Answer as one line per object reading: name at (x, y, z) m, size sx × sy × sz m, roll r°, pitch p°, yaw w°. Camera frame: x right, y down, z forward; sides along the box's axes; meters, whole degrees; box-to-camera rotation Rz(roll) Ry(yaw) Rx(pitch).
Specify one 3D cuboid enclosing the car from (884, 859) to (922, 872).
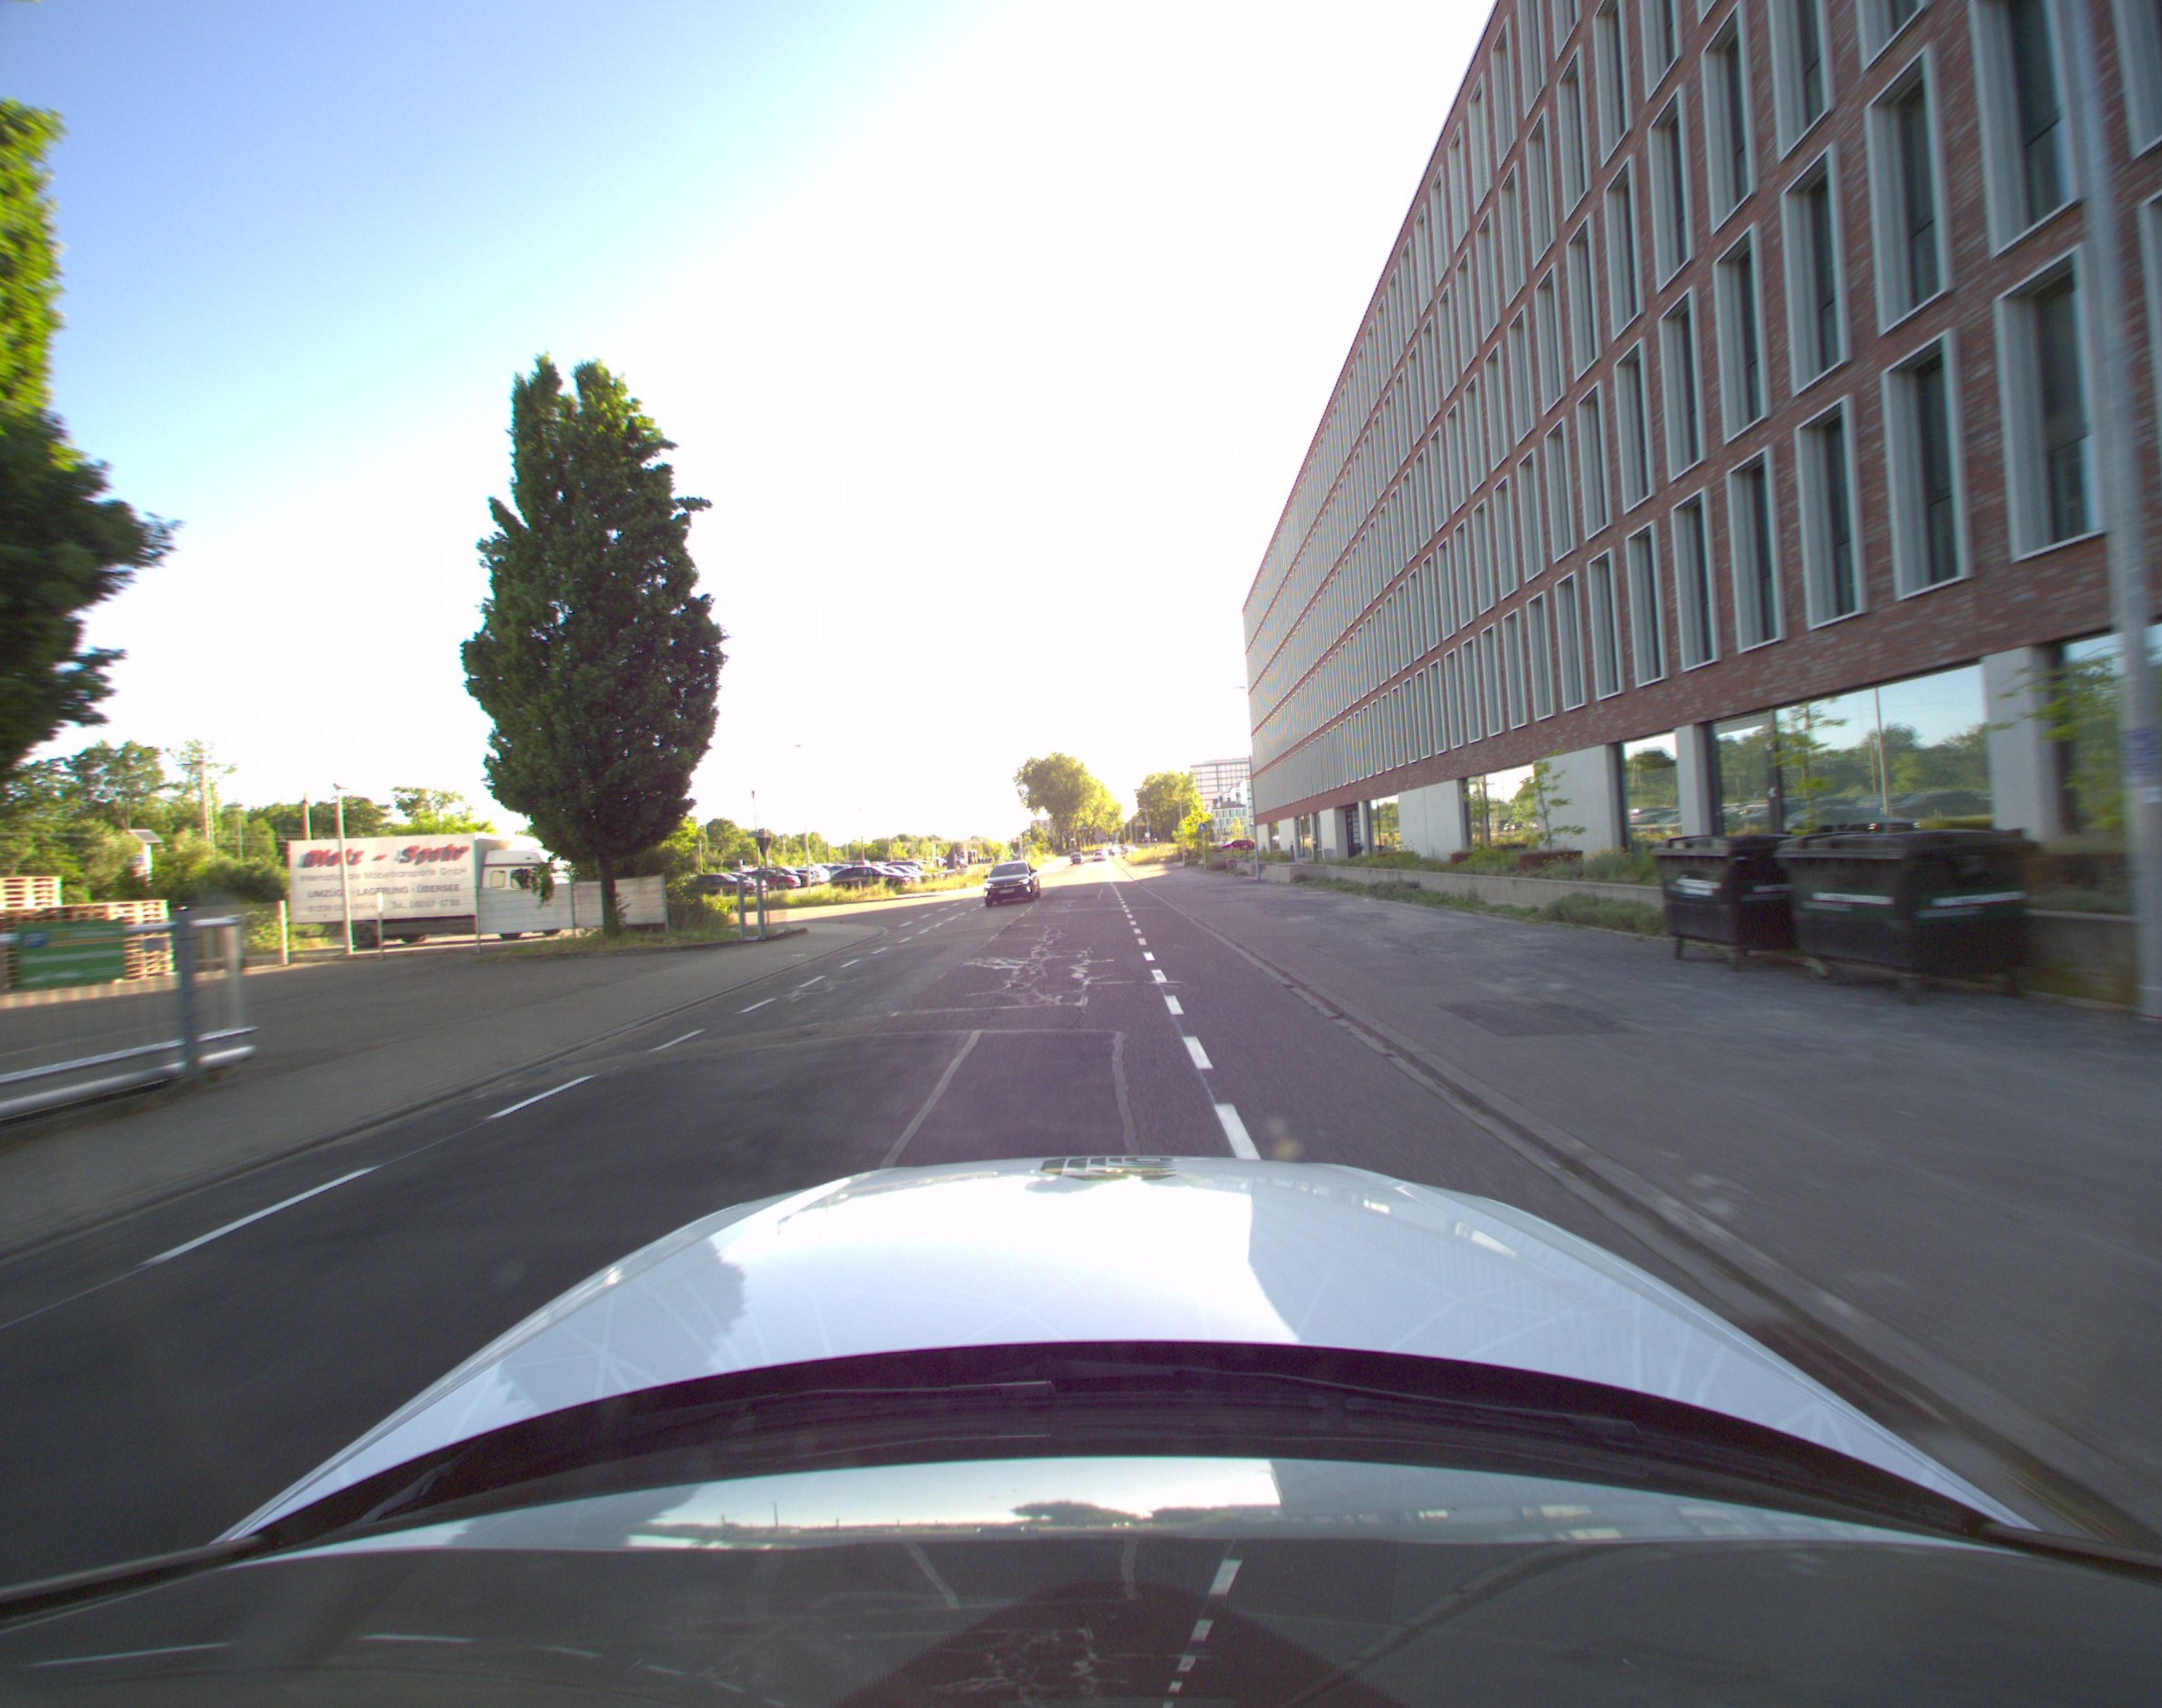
car at (-22.772, 1.440, 104.332) m, size 4.307 × 1.419 × 1.878 m, roll -3°, pitch 1°, yaw 0°

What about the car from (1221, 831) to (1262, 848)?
car at (17.691, -1.590, 90.010) m, size 4.165 × 1.580 × 1.854 m, roll -3°, pitch 1°, yaw 4°

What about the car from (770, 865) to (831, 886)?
car at (-22.729, 1.757, 66.116) m, size 4.150 × 1.397 × 2.047 m, roll -4°, pitch 0°, yaw -3°

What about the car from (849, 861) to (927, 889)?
car at (-12.506, 1.348, 52.990) m, size 4.411 × 1.461 × 2.050 m, roll -4°, pitch 0°, yaw 2°

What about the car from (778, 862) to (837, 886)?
car at (-22.960, 1.687, 68.429) m, size 4.149 × 1.662 × 1.965 m, roll -4°, pitch 0°, yaw -2°

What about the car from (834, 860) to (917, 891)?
car at (-12.604, 1.329, 50.084) m, size 4.411 × 1.580 × 2.050 m, roll -4°, pitch 0°, yaw 2°

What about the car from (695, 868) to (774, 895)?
car at (-23.520, 1.856, 55.411) m, size 4.392 × 1.465 × 2.046 m, roll -4°, pitch 0°, yaw -3°

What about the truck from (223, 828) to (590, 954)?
truck at (-22.834, 1.221, 27.948) m, size 10.066 × 3.614 × 2.775 m, roll -3°, pitch -1°, yaw 0°

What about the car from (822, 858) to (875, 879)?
car at (-22.943, 1.431, 80.514) m, size 4.559 × 1.805 × 1.858 m, roll -3°, pitch 1°, yaw 1°

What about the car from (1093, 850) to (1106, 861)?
car at (2.658, 0.193, 118.388) m, size 1.784 × 1.420 × 4.000 m, roll -3°, pitch 0°, yaw 1°

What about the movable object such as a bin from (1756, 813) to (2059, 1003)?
movable object such as a bin at (6.843, 0.407, 6.864) m, size 1.125 × 1.371 × 1.345 m, roll -4°, pitch 0°, yaw 0°

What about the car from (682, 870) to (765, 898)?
car at (-23.078, 1.903, 52.674) m, size 4.392 × 1.465 × 2.046 m, roll -4°, pitch 0°, yaw -3°

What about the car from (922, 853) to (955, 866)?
car at (-21.867, 0.850, 125.185) m, size 4.559 × 1.741 × 2.061 m, roll -3°, pitch 1°, yaw 4°

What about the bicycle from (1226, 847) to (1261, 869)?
bicycle at (9.829, 0.248, 49.274) m, size 1.929 × 1.169 × 0.374 m, roll -5°, pitch 0°, yaw -5°

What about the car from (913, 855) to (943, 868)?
car at (-22.184, 1.044, 117.927) m, size 3.870 × 1.603 × 1.878 m, roll -3°, pitch 1°, yaw 0°

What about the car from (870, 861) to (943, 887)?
car at (-12.012, 1.341, 56.223) m, size 4.411 × 1.461 × 2.050 m, roll -4°, pitch 0°, yaw 2°

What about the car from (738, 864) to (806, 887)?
car at (-22.965, 1.601, 60.631) m, size 4.150 × 1.397 × 2.047 m, roll -4°, pitch 0°, yaw -3°

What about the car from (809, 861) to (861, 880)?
car at (-23.602, 1.594, 78.141) m, size 4.350 × 1.545 × 1.858 m, roll -3°, pitch 1°, yaw 1°

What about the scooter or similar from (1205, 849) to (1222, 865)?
scooter or similar at (10.151, 0.248, 62.447) m, size 1.237 × 1.155 × 0.366 m, roll -3°, pitch 0°, yaw 5°

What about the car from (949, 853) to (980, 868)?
car at (-20.960, 1.182, 146.441) m, size 5.079 × 2.459 × 2.320 m, roll -3°, pitch 1°, yaw 0°

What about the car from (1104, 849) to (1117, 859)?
car at (5.341, -0.046, 147.185) m, size 2.154 × 1.684 × 4.003 m, roll -3°, pitch -1°, yaw 3°

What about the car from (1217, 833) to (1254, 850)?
car at (18.352, -1.451, 96.807) m, size 4.165 × 1.581 × 1.853 m, roll -4°, pitch -5°, yaw 4°

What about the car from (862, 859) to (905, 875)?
car at (-22.753, 1.482, 93.828) m, size 4.305 × 1.523 × 1.879 m, roll -3°, pitch 1°, yaw 1°

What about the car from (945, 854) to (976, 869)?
car at (-21.242, 1.331, 143.751) m, size 4.910 × 2.459 × 2.320 m, roll -3°, pitch 0°, yaw 0°

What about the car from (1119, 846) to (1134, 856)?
car at (8.525, -0.520, 152.565) m, size 2.150 × 1.684 × 4.011 m, roll -3°, pitch 0°, yaw 10°

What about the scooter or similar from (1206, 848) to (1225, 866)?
scooter or similar at (10.070, 0.239, 60.890) m, size 1.334 × 1.245 × 0.424 m, roll -3°, pitch 0°, yaw 5°

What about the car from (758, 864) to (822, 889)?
car at (-22.702, 1.735, 63.671) m, size 4.150 × 1.578 × 2.047 m, roll -4°, pitch 0°, yaw -3°

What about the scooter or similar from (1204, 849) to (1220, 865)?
scooter or similar at (10.288, 0.254, 63.940) m, size 1.237 × 1.195 × 0.341 m, roll -3°, pitch 0°, yaw 5°

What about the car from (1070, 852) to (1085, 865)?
car at (-0.442, 0.533, 105.999) m, size 1.647 × 1.503 × 4.002 m, roll -5°, pitch 0°, yaw 2°

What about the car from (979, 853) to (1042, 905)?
car at (-2.541, 0.862, 30.176) m, size 1.735 × 1.525 × 4.112 m, roll -7°, pitch 0°, yaw 1°

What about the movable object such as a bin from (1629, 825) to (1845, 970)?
movable object such as a bin at (6.822, 0.415, 8.578) m, size 1.125 × 1.336 × 1.345 m, roll -4°, pitch 0°, yaw 0°
